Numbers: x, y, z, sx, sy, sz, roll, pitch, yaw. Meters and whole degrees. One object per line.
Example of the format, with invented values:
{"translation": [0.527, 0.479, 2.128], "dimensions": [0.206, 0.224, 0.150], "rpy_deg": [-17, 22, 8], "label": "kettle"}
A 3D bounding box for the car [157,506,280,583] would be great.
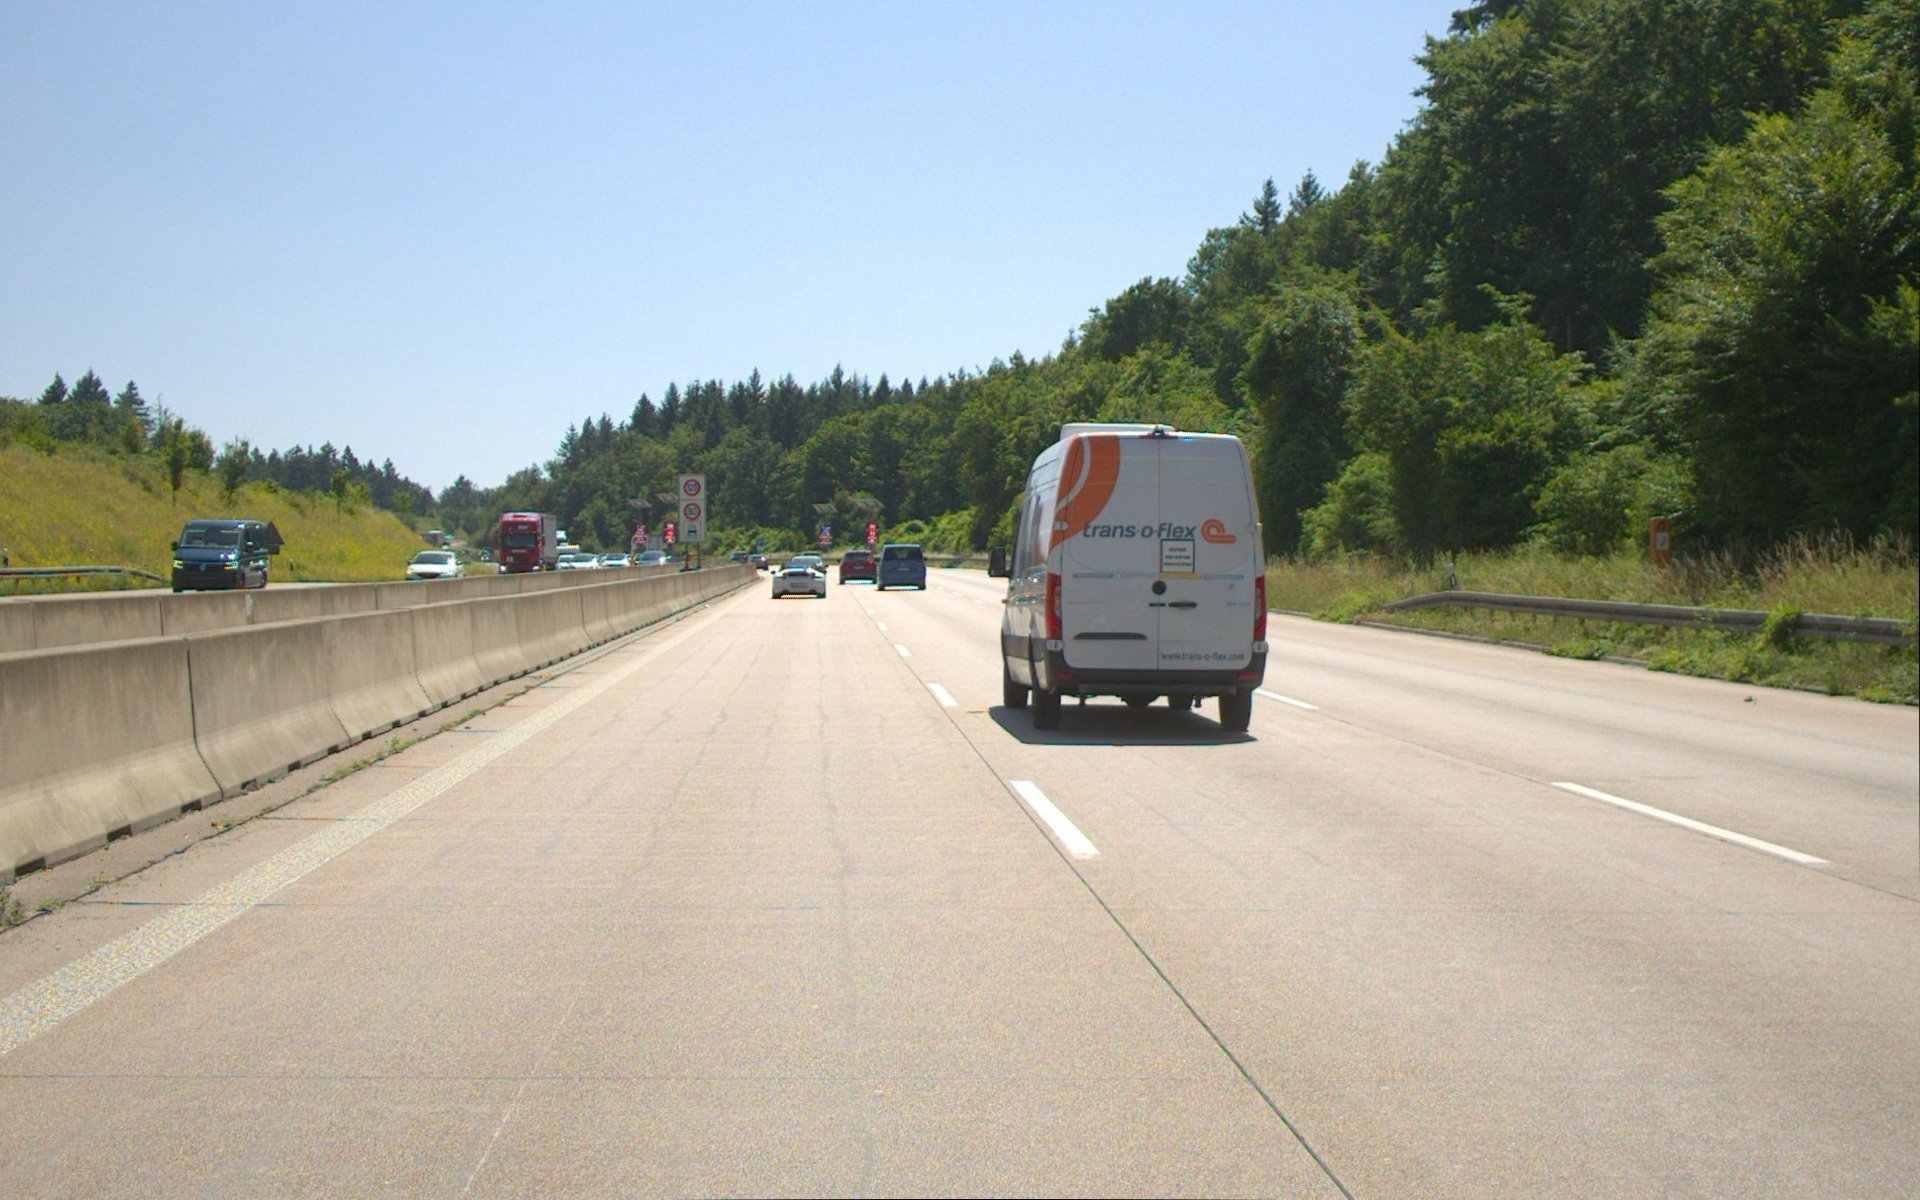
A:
{"translation": [-22.186, -1.681, 103.122], "dimensions": [2.480, 2.202, 6.460], "rpy_deg": [1, 1, -2], "label": "car"}

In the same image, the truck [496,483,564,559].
{"translation": [-25.791, -4.690, 206.427], "dimensions": [3.386, 4.416, 6.801], "rpy_deg": [1, 0, -2], "label": "truck"}

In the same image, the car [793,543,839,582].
{"translation": [-6.434, -1.681, 153.405], "dimensions": [1.993, 1.678, 4.000], "rpy_deg": [1, 0, -2], "label": "car"}

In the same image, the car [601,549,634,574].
{"translation": [-23.583, -2.647, 237.041], "dimensions": [1.993, 1.686, 4.817], "rpy_deg": [0, 1, -2], "label": "car"}

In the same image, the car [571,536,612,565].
{"translation": [-20.635, -2.785, 192.560], "dimensions": [1.993, 1.558, 4.001], "rpy_deg": [1, 1, -2], "label": "car"}

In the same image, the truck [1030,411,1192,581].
{"translation": [3.710, -2.569, 87.063], "dimensions": [3.159, 4.003, 10.609], "rpy_deg": [-1, 1, -2], "label": "truck"}

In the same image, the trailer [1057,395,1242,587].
{"translation": [4.142, -2.390, 77.218], "dimensions": [3.134, 4.003, 9.089], "rpy_deg": [-1, 1, -3], "label": "trailer"}

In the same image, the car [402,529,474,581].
{"translation": [-18.718, -1.626, 123.494], "dimensions": [2.008, 1.801, 4.854], "rpy_deg": [1, 1, -2], "label": "car"}

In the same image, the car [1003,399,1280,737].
{"translation": [1.576, -0.349, 31.883], "dimensions": [2.226, 2.834, 5.454], "rpy_deg": [-1, 2, 0], "label": "car"}

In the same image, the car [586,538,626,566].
{"translation": [-20.320, -2.772, 197.272], "dimensions": [1.993, 1.553, 4.499], "rpy_deg": [0, 1, -2], "label": "car"}

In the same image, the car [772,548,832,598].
{"translation": [-5.480, -0.931, 119.168], "dimensions": [1.993, 1.678, 4.000], "rpy_deg": [1, 0, -3], "label": "car"}

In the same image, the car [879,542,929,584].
{"translation": [-2.316, -1.513, 140.631], "dimensions": [1.993, 1.678, 4.000], "rpy_deg": [1, 0, -1], "label": "car"}
